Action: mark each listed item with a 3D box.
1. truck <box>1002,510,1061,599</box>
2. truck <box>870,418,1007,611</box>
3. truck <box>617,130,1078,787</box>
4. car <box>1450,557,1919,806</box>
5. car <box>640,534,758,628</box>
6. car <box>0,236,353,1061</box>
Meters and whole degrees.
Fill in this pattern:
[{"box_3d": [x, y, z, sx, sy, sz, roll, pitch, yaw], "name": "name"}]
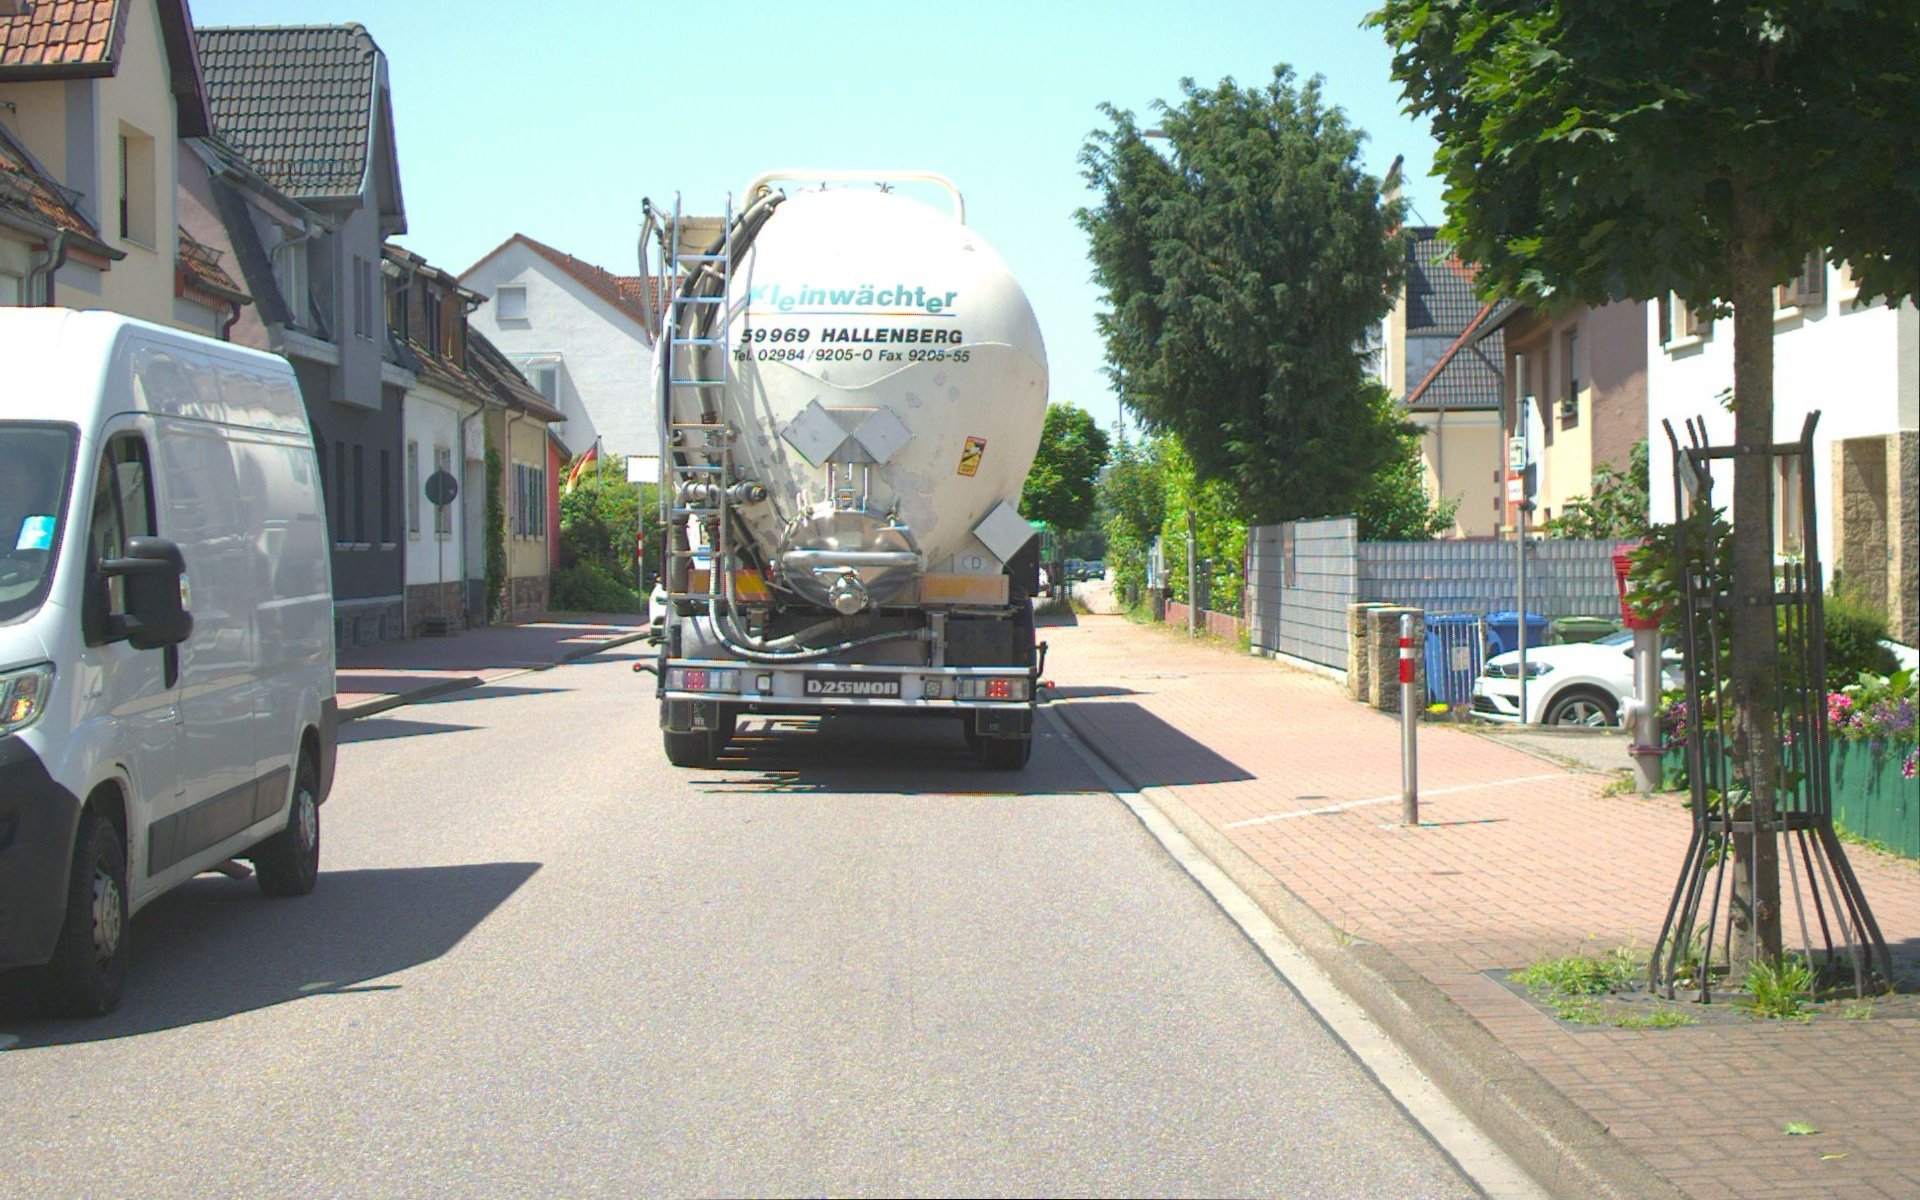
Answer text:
[{"box_3d": [2.712, -1.710, 128.439, 1.993, 3.126, 9.448, 1, 1, 2], "name": "truck"}, {"box_3d": [-0.386, -1.792, 75.161, 2.732, 3.946, 8.141, 1, 0, 1], "name": "truck"}, {"box_3d": [-0.789, -0.878, 24.968, 2.732, 3.946, 8.142, 1, 0, -2], "name": "truck"}, {"box_3d": [6.816, 0.733, 31.521, 4.170, 1.581, 1.907, 10, 0, 0], "name": "car"}, {"box_3d": [-4.722, -0.348, 62.644, 1.851, 1.566, 4.255, -3, 1, -1], "name": "car"}, {"box_3d": [-3.844, 0.129, 13.181, 2.069, 2.446, 6.008, -2, 1, -2], "name": "car"}]
